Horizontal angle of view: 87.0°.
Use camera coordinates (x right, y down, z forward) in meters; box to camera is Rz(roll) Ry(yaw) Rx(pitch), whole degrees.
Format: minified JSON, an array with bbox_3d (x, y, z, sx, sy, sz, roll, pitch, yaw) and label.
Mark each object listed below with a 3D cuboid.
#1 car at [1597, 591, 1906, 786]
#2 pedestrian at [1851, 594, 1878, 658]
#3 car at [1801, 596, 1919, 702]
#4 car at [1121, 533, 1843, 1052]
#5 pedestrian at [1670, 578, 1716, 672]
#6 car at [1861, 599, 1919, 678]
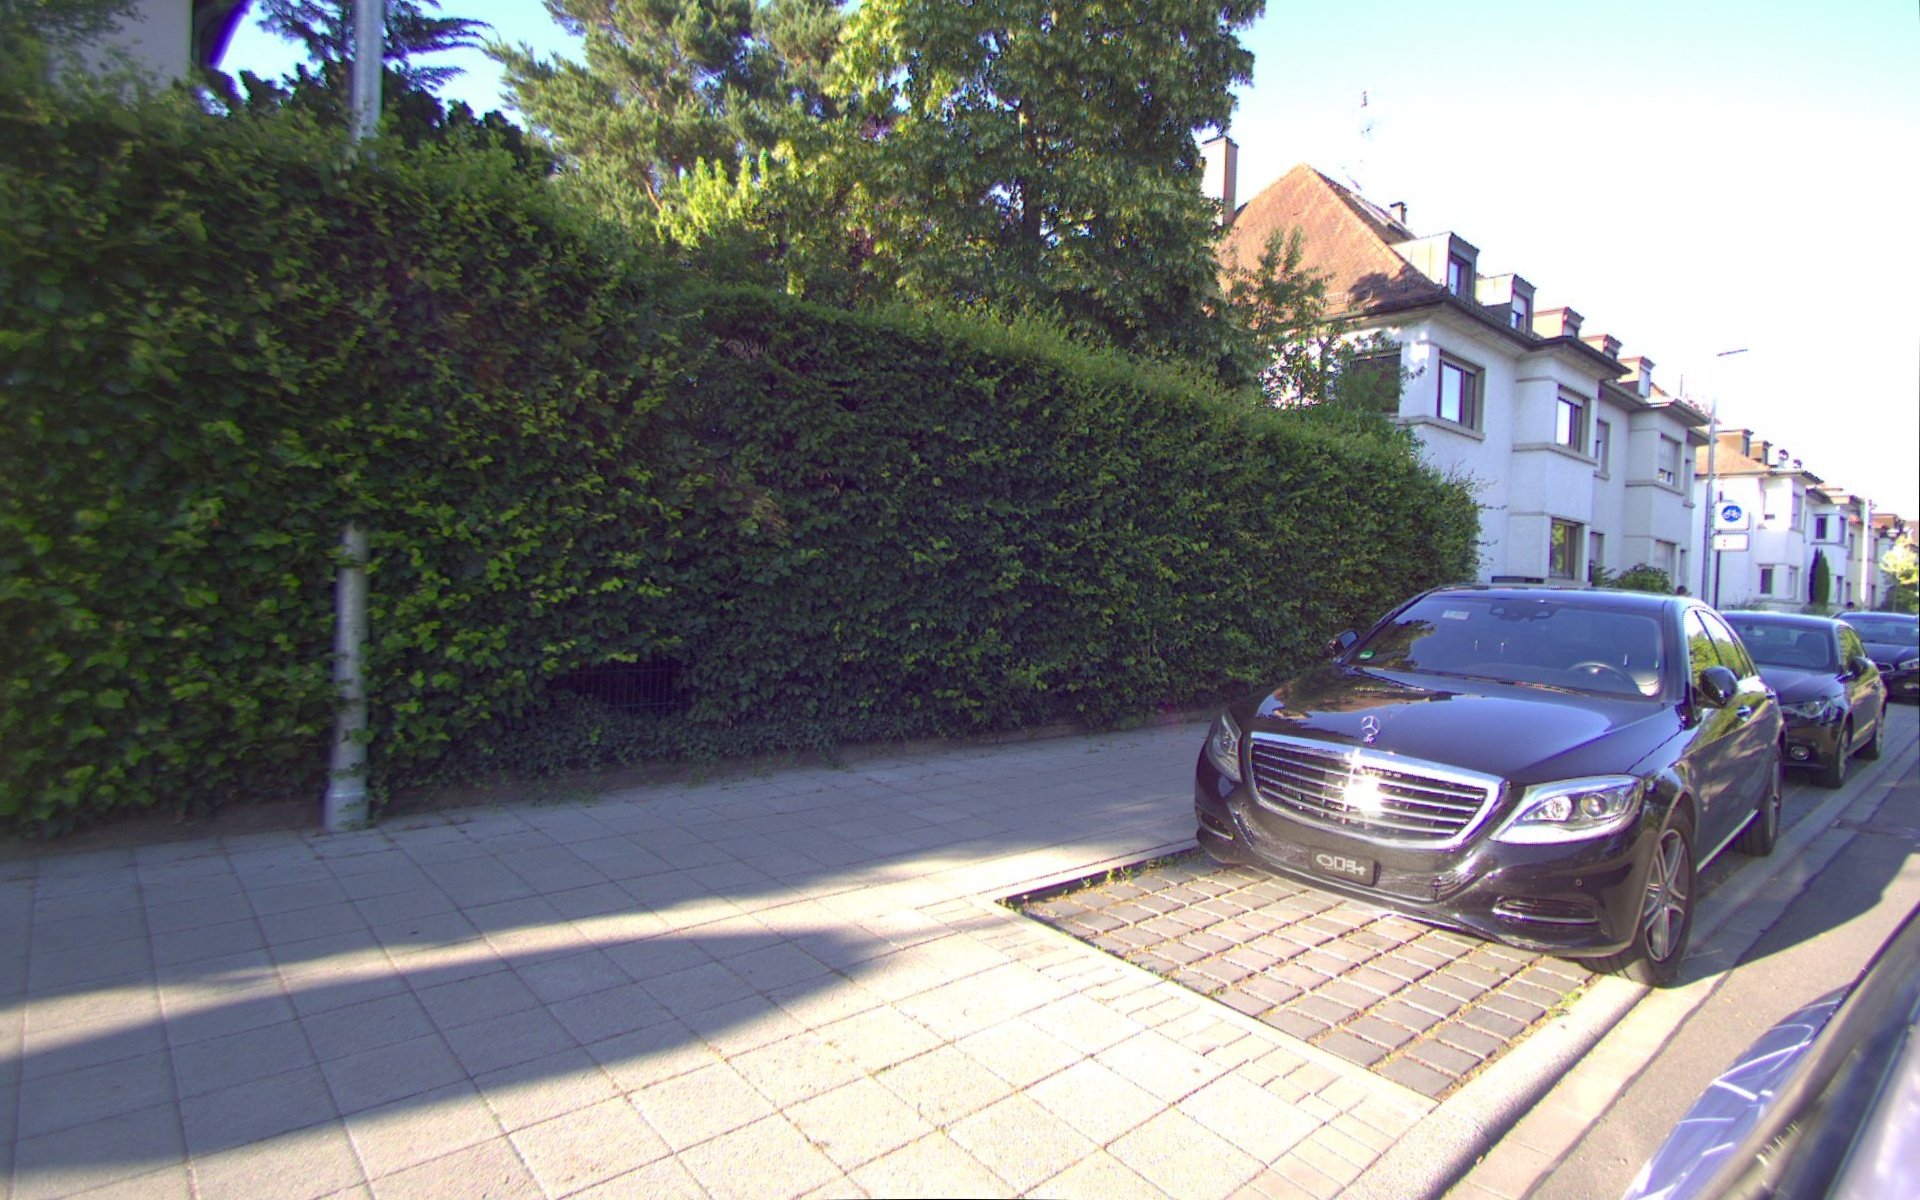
[{"bbox_3d":[7.771,0.703,9.804,3.932,1.496,1.781,1,-1,-43],"label":"car"},{"bbox_3d":[26.065,0.739,29.154,0.579,1.821,0.530,1,-1,-44],"label":"pedestrian"},{"bbox_3d":[15.844,0.782,17.281,4.007,1.616,1.793,1,-1,-43],"label":"car"},{"bbox_3d":[3.137,0.539,5.406,4.835,1.517,2.005,1,2,-45],"label":"car"},{"bbox_3d":[14.836,0.491,20.480,0.809,1.869,0.587,0,0,-41],"label":"pedestrian"},{"bbox_3d":[20.047,0.789,20.948,3.410,1.554,1.679,1,-1,-41],"label":"car"}]
